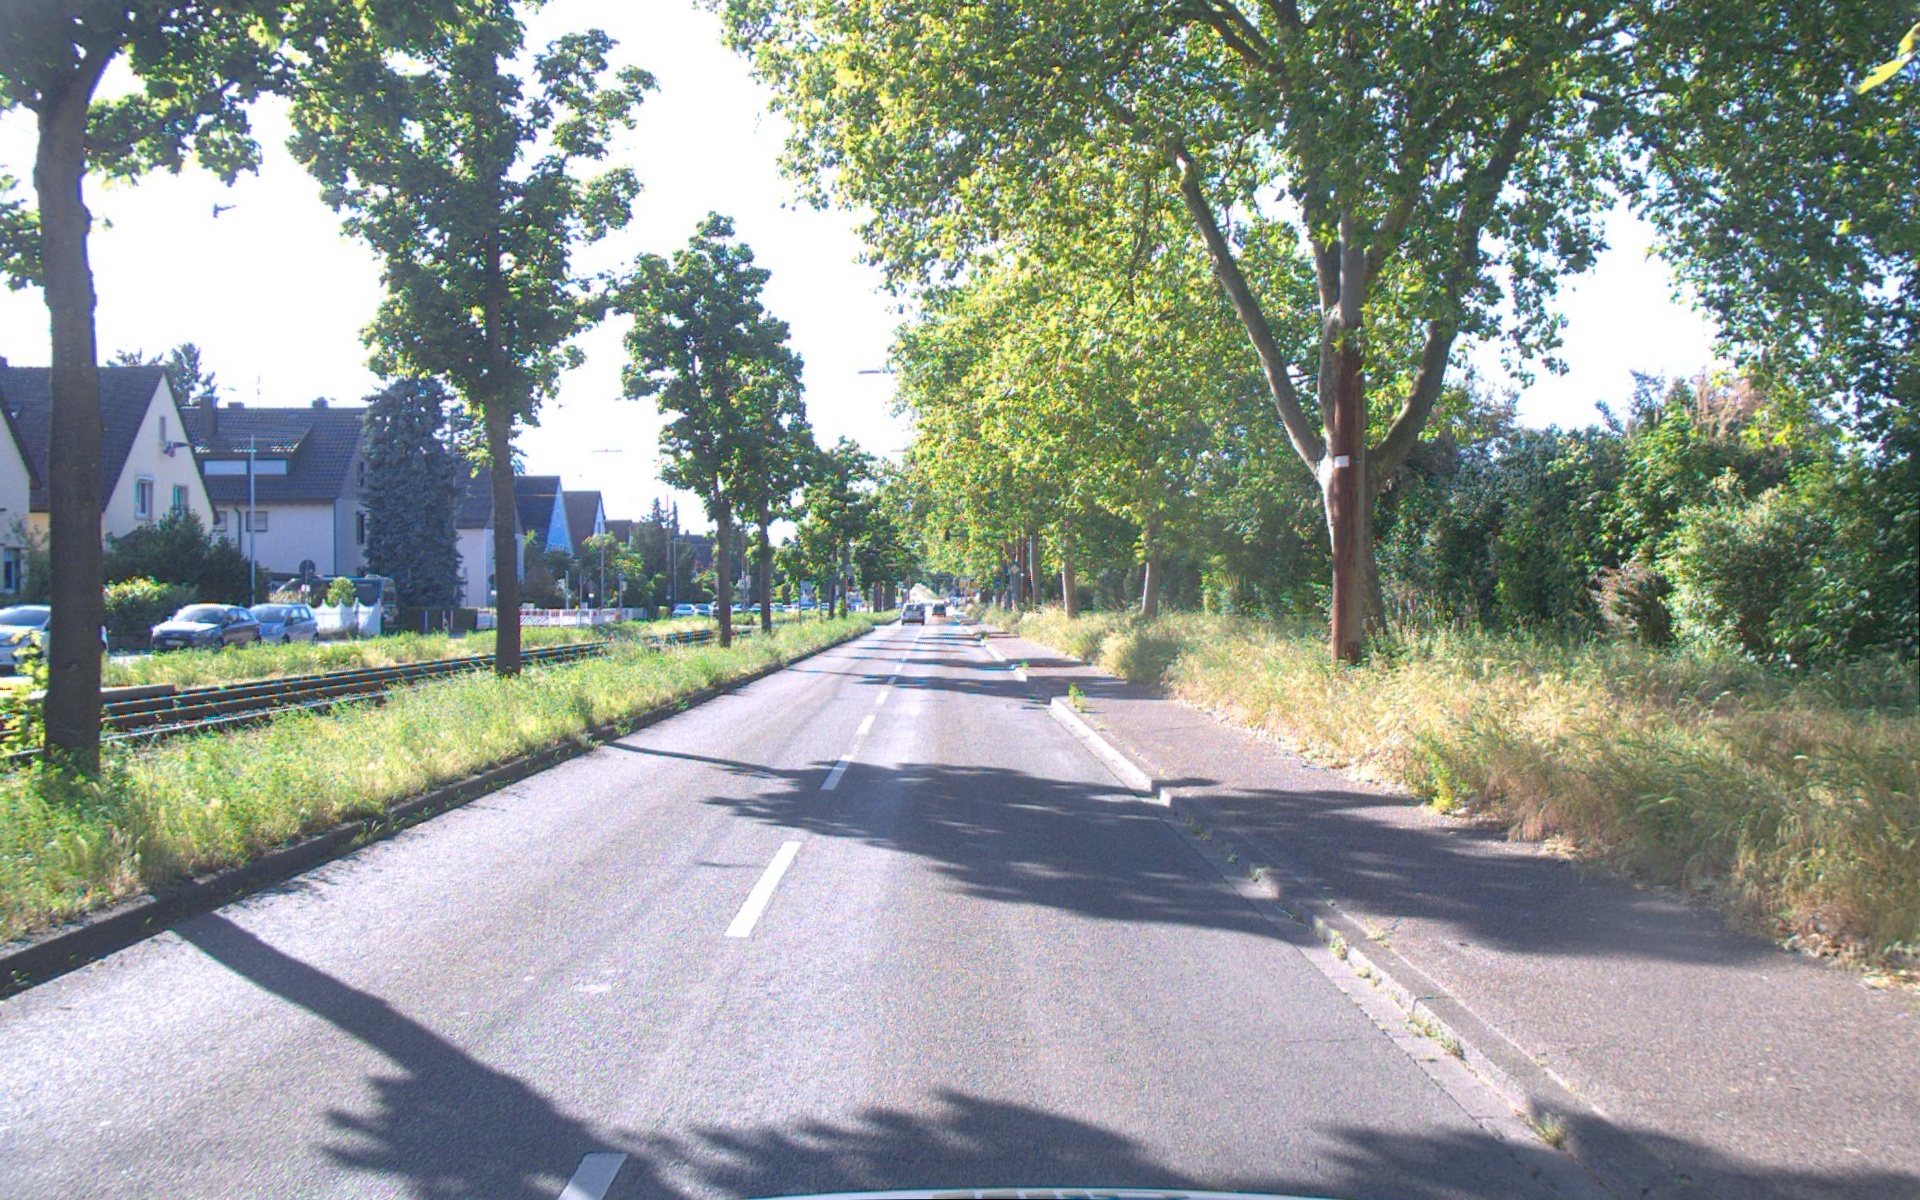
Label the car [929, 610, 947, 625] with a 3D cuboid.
[{"bbox_3d":[-2.492,1.937,187.967,1.953,1.631,4.472,1,0,-1],"label":"car"}]

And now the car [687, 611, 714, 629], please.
[{"bbox_3d":[-22.594,1.702,143.988,1.694,1.491,4.601,1,0,-1],"label":"car"}]

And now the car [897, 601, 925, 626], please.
[{"bbox_3d":[-3.346,0.937,113.481,1.822,1.629,4.227,1,0,-1],"label":"car"}]

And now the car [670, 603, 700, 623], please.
[{"bbox_3d":[-22.440,1.082,135.140,1.822,1.569,4.227,1,0,-1],"label":"car"}]

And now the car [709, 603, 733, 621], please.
[{"bbox_3d":[-22.407,1.132,155.296,1.712,1.679,4.554,1,0,-1],"label":"car"}]

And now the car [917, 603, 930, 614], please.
[{"bbox_3d":[-5.556,1.277,254.843,1.953,1.631,4.472,1,0,-1],"label":"car"}]

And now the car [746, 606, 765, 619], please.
[{"bbox_3d":[-23.890,1.445,193.263,1.822,1.438,4.157,1,0,-1],"label":"car"}]

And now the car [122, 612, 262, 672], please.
[{"bbox_3d":[-21.300,1.138,46.058,1.953,1.475,4.127,3,0,-1],"label":"car"}]

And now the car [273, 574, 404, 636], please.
[{"bbox_3d":[-27.134,0.203,72.353,4.926,2.671,2.102,0,0,-1],"label":"car"}]

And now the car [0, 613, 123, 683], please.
[{"bbox_3d":[-21.150,1.044,37.570,1.952,1.451,4.410,1,0,1],"label":"car"}]

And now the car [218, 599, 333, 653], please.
[{"bbox_3d":[-21.196,0.800,51.379,1.907,1.580,4.055,1,0,-1],"label":"car"}]

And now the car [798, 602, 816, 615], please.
[{"bbox_3d":[-19.116,1.097,207.121,1.953,1.631,4.472,1,0,-1],"label":"car"}]

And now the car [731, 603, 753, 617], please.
[{"bbox_3d":[-22.950,1.042,174.527,1.822,1.393,4.227,1,0,-1],"label":"car"}]
